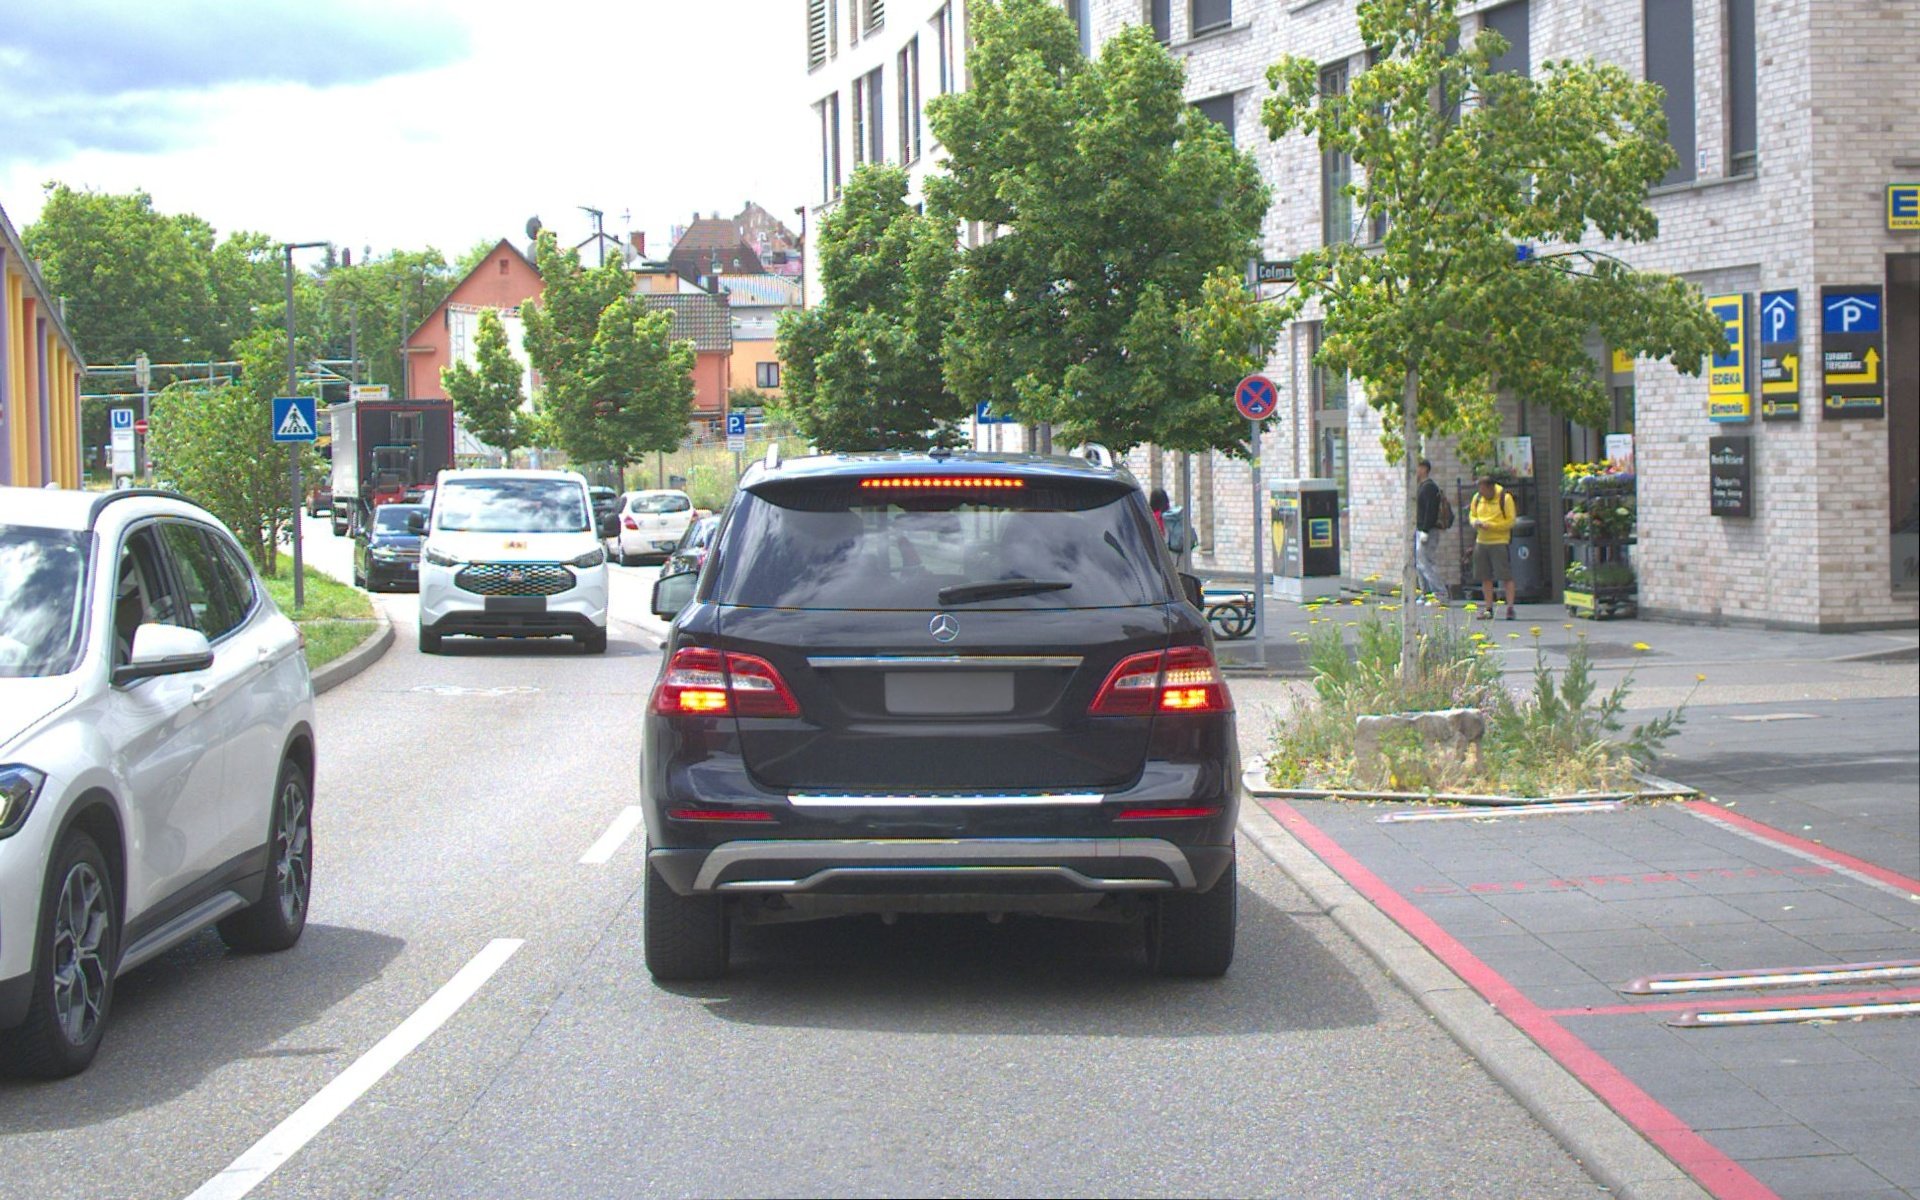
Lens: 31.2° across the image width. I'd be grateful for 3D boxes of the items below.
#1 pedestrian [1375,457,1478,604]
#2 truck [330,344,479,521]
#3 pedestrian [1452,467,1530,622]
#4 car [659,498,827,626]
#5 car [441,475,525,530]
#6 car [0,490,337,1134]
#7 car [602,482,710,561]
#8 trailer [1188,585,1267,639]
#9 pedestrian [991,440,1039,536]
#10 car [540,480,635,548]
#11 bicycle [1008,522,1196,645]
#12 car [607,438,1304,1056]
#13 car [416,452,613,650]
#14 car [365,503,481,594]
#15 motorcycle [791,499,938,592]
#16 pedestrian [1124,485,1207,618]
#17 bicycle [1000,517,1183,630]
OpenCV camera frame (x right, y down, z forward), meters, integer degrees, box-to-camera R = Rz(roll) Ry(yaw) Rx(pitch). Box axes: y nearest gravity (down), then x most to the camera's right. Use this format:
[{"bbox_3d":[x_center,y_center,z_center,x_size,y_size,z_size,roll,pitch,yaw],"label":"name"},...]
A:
[{"bbox_3d":[5.608,-0.841,41.353,1.014,1.735,0.660,-2,2,-17],"label":"pedestrian"},{"bbox_3d":[-15.200,-4.429,93.513,3.202,4.520,9.031,0,1,-14],"label":"truck"},{"bbox_3d":[5.880,-0.618,38.040,0.658,1.686,0.631,-1,2,27],"label":"pedestrian"},{"bbox_3d":[-2.852,-0.529,44.523,1.726,1.451,3.810,-2,3,-10],"label":"car"},{"bbox_3d":[-13.991,-2.871,100.592,1.781,1.446,4.478,-3,3,-15],"label":"car"},{"bbox_3d":[-3.227,0.469,10.504,1.822,1.579,4.165,0,1,1],"label":"car"},{"bbox_3d":[-6.286,-1.648,70.829,1.692,1.478,3.799,-3,3,-12],"label":"car"},{"bbox_3d":[2.791,0.123,35.933,0.719,0.526,0.811,-1,1,-3],"label":"trailer"},{"bbox_3d":[0.855,-1.762,53.918,0.607,1.467,0.791,-2,3,-6],"label":"pedestrian"},{"bbox_3d":[-8.671,-2.020,79.866,1.692,1.456,4.148,-3,3,-12],"label":"car"},{"bbox_3d":[1.481,-0.180,35.976,1.822,1.196,0.756,-2,2,-7],"label":"bicycle"},{"bbox_3d":[-0.139,0.353,12.433,1.993,1.740,4.533,-3,2,-3],"label":"car"},{"bbox_3d":[-4.947,-0.573,37.955,1.993,2.007,5.396,1,2,-8],"label":"car"},{"bbox_3d":[-9.162,-0.904,58.452,1.772,1.459,4.236,0,2,-11],"label":"car"},{"bbox_3d":[-1.400,-0.802,50.506,2.050,1.261,0.673,-3,1,4],"label":"motorcycle"},{"bbox_3d":[2.433,-0.571,40.763,0.812,1.560,0.930,0,0,-8],"label":"pedestrian"},{"bbox_3d":[1.405,-0.288,36.884,1.822,1.127,0.756,-2,2,-7],"label":"bicycle"}]
